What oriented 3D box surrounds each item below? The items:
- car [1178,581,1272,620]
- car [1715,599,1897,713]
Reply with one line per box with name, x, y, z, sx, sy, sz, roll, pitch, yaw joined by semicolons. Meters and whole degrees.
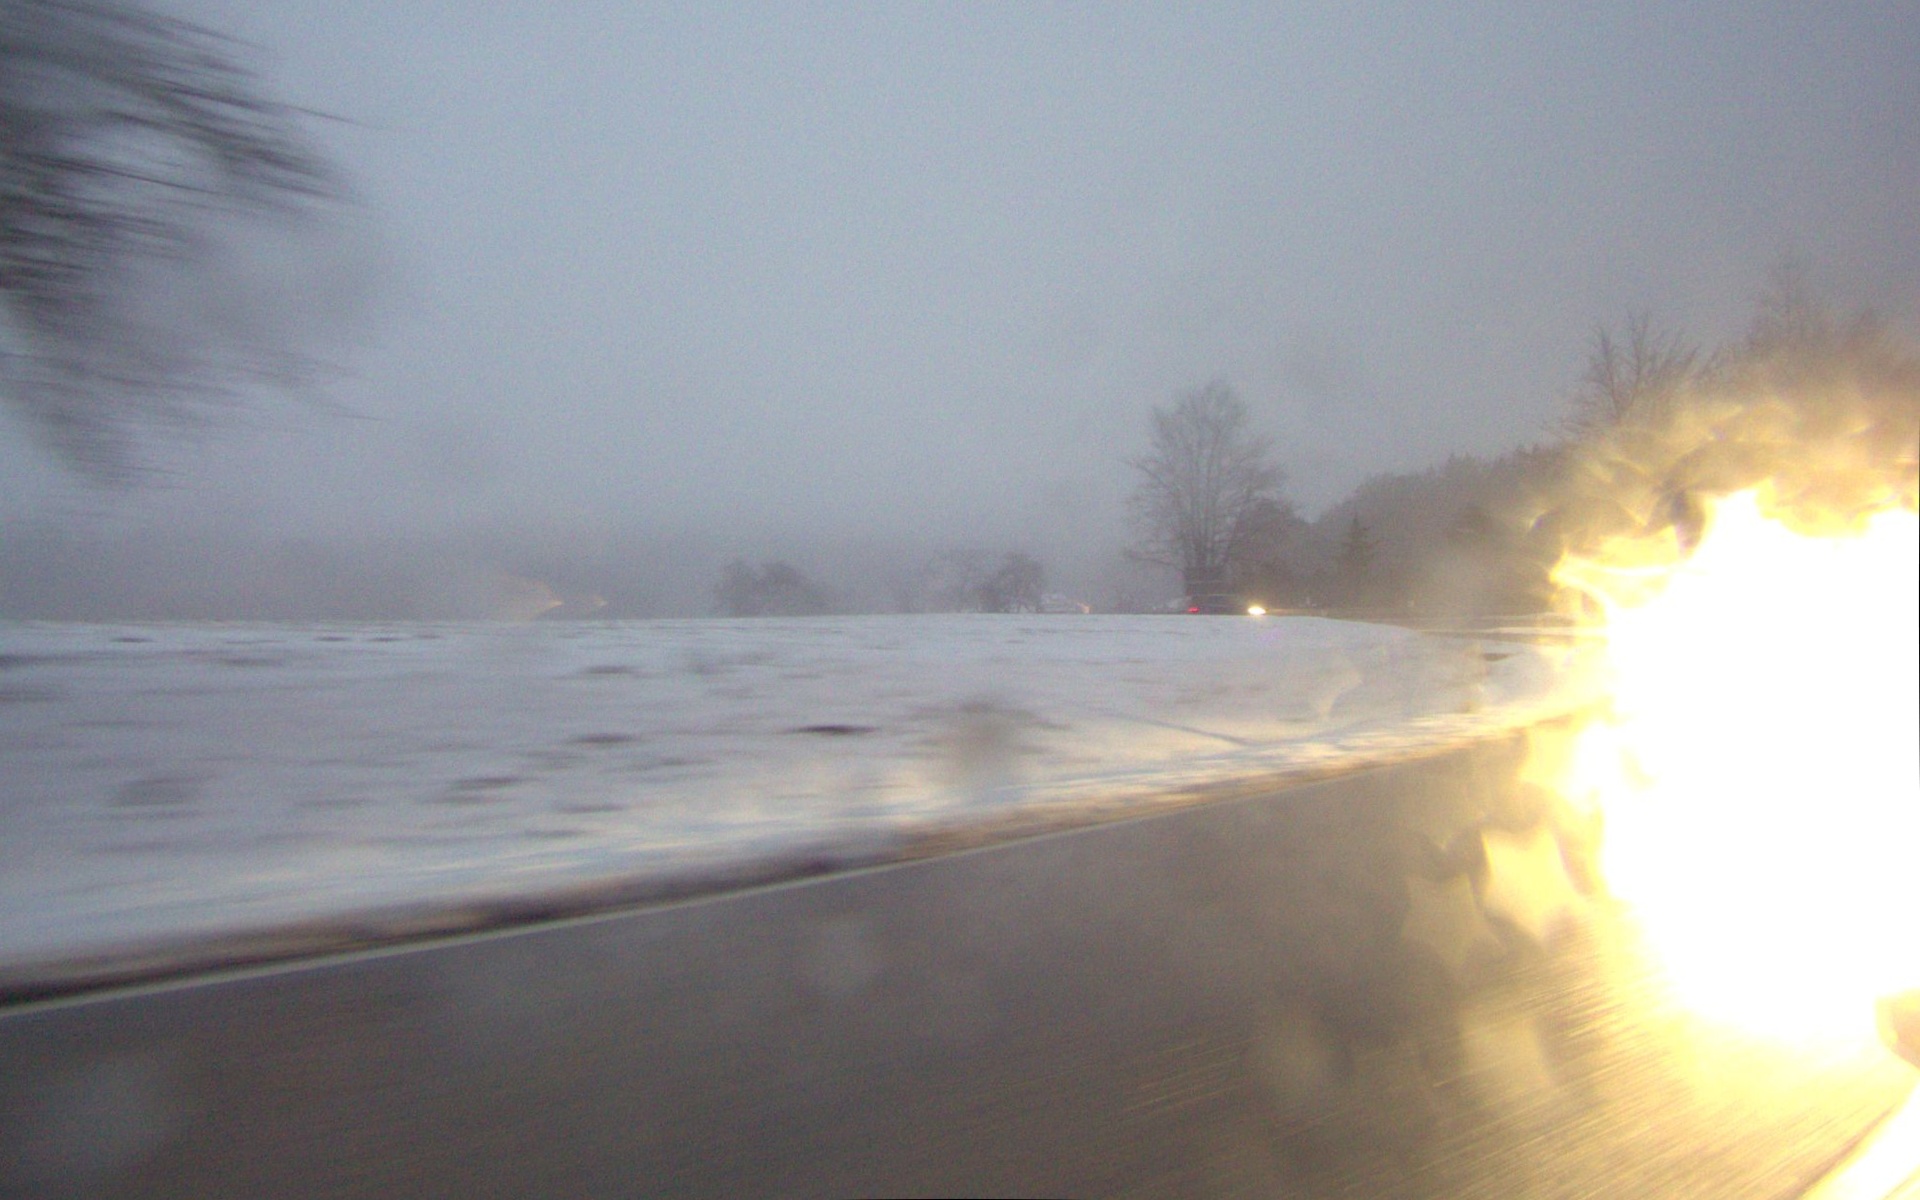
car;14.684;-0.009;55.922;1.672;1.971;4.957;0;2;-42
car;12.945;0.756;15.291;3.977;1.506;1.724;0;-1;-44
